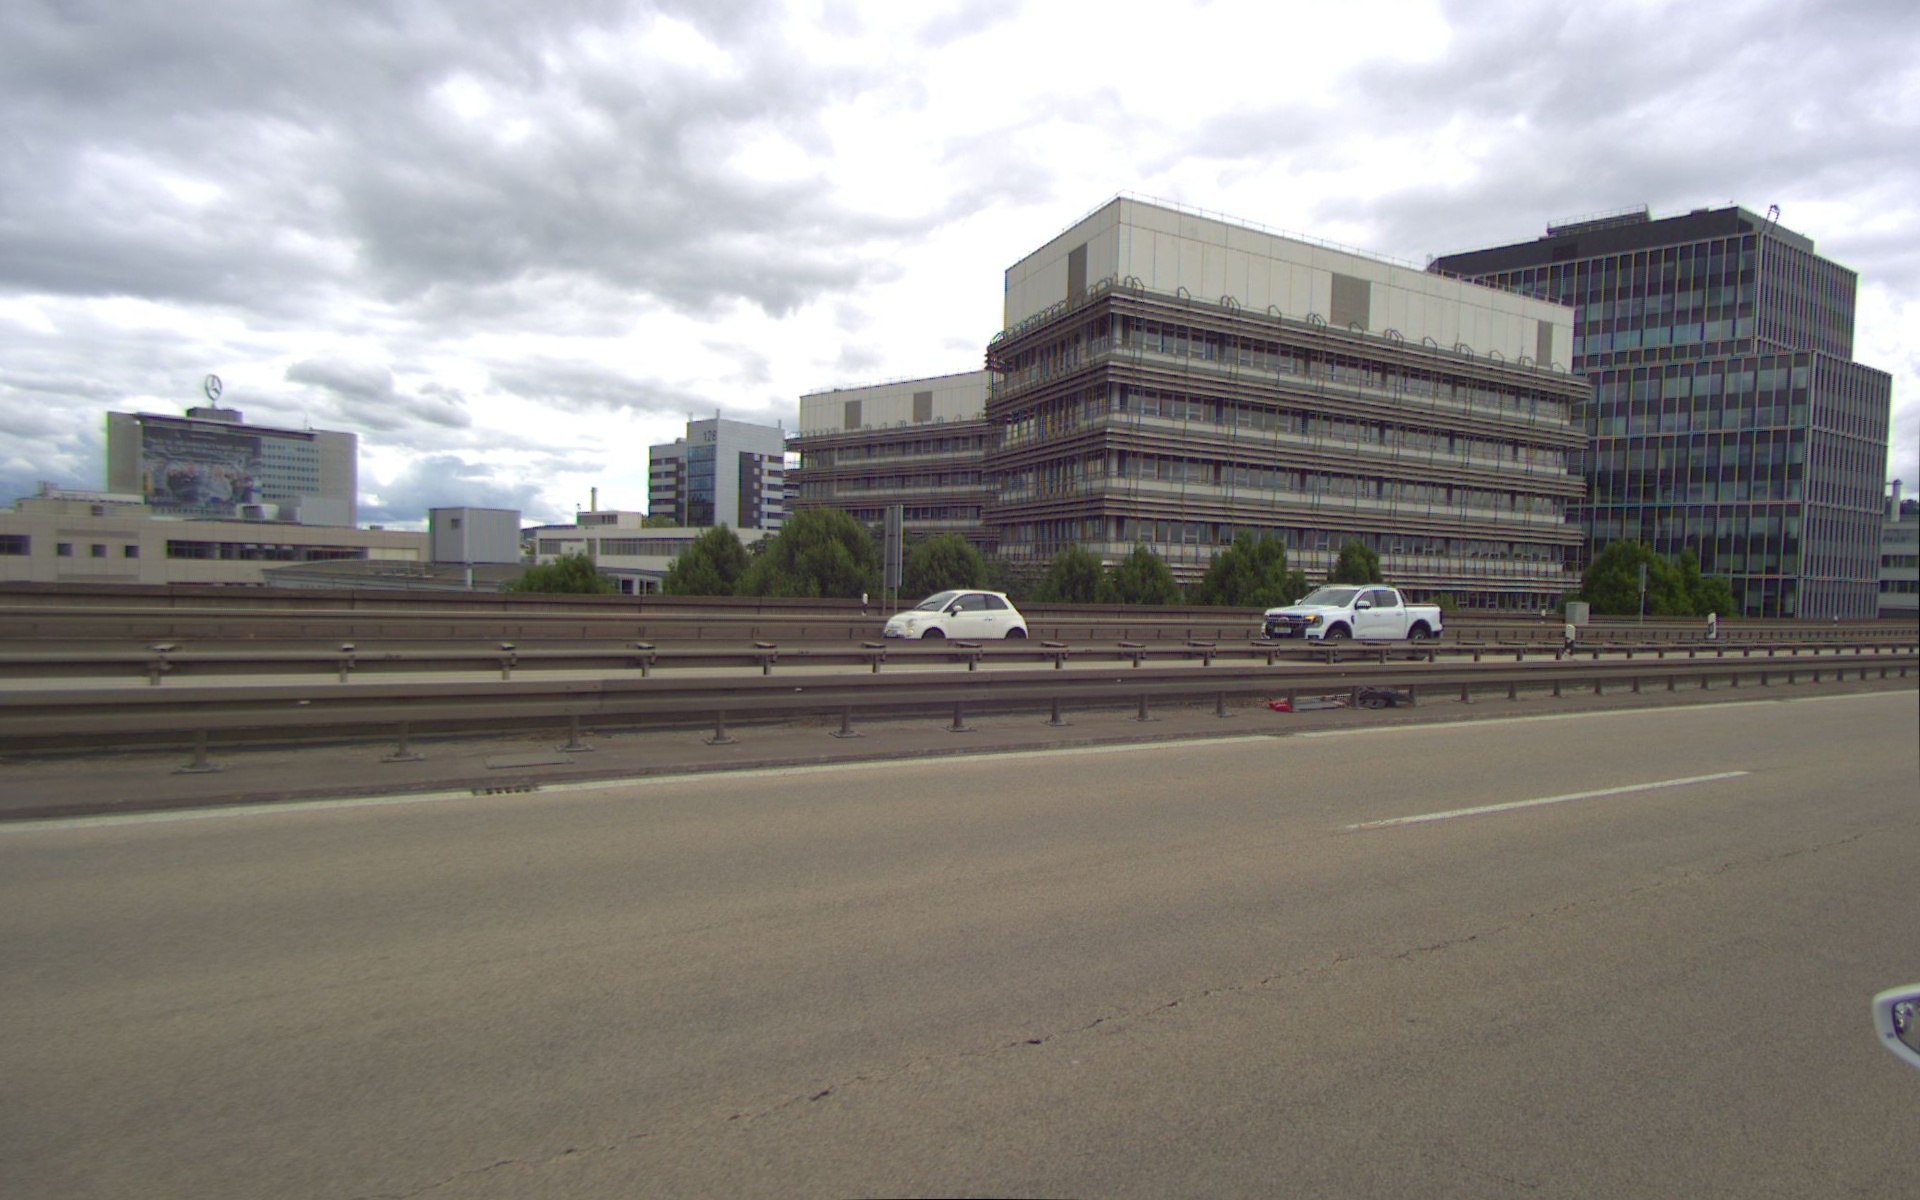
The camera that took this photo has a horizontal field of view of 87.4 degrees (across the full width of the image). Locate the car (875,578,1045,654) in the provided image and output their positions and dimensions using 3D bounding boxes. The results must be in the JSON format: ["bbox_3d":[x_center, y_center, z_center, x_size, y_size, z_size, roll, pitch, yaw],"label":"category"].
[{"bbox_3d":[0.019,0.392,24.026,3.733,1.672,1.674,2,1,-31],"label":"car"}]

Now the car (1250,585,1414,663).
[{"bbox_3d":[9.129,0.588,24.595,3.732,1.743,1.777,2,1,-31],"label":"car"}]
